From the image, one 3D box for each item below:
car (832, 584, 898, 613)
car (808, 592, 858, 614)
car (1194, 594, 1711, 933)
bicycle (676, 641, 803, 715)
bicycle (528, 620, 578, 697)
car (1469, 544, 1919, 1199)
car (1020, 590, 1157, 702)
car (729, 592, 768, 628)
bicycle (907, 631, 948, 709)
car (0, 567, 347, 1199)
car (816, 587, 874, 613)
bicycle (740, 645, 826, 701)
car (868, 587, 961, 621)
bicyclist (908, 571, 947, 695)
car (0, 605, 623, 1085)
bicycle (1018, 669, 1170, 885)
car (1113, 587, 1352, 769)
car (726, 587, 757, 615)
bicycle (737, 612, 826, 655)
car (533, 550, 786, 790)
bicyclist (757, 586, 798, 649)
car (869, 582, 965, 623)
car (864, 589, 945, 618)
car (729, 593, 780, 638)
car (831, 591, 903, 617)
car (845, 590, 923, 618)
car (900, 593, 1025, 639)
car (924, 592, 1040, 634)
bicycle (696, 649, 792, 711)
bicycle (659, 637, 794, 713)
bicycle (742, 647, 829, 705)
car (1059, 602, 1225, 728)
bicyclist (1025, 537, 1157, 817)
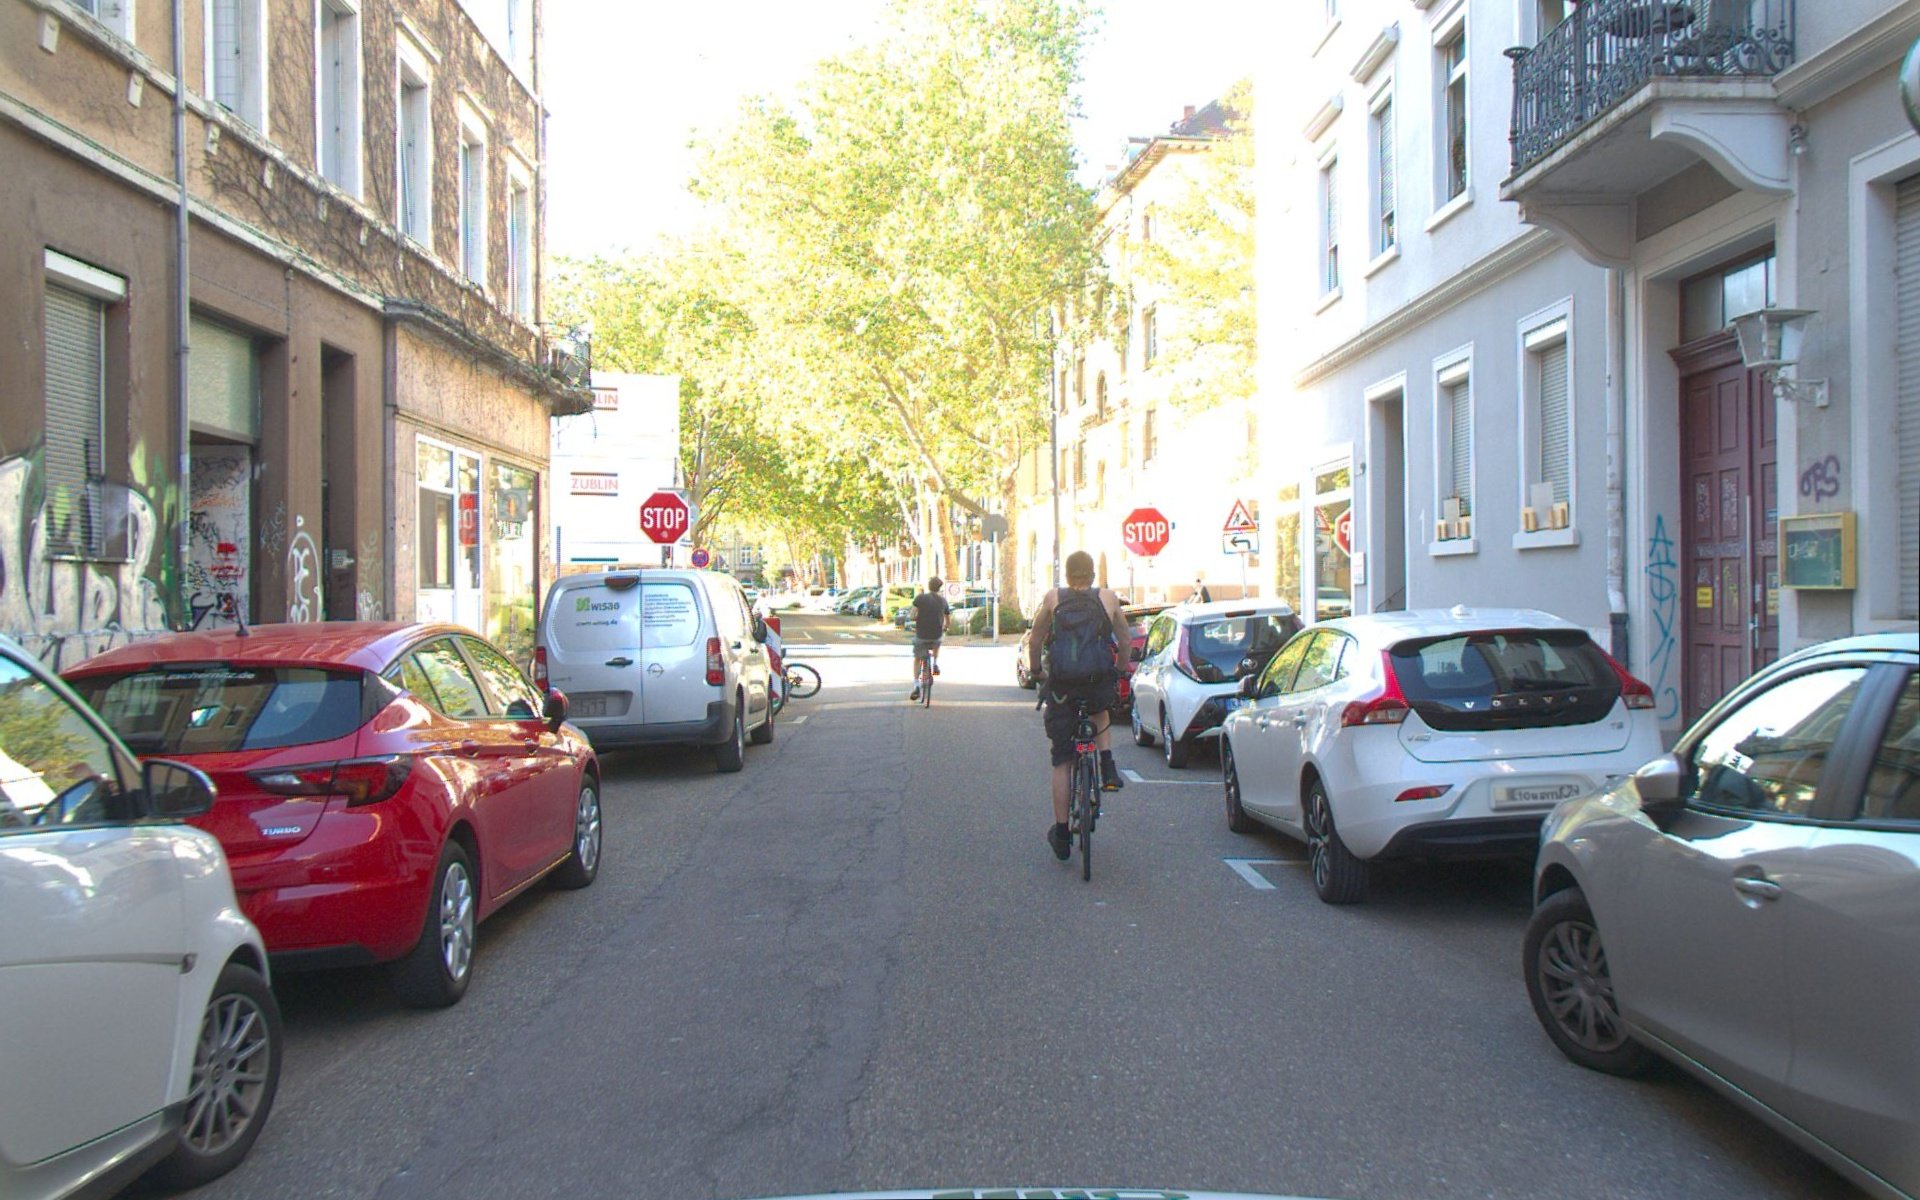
[{"bbox_3d":[-6.565,-0.118,113.571,4.379,1.931,1.724,0,0,-10],"label":"car"},{"bbox_3d":[-11.388,0.224,148.045,4.379,1.931,1.724,0,0,-10],"label":"car"},{"bbox_3d":[2.577,0.754,9.739,1.645,1.537,4.188,1,0,-2],"label":"car"},{"bbox_3d":[-3.103,1.085,23.277,1.734,0.978,0.480,0,0,-14],"label":"bicycle"},{"bbox_3d":[-6.101,0.864,24.858,0.389,1.111,1.591,-1,-1,-1],"label":"bicycle"},{"bbox_3d":[2.752,0.716,4.230,1.644,1.625,4.190,1,0,1],"label":"car"},{"bbox_3d":[2.059,0.703,27.503,1.725,1.691,4.195,1,0,-3],"label":"car"},{"bbox_3d":[-9.762,0.449,76.263,1.635,1.590,3.991,0,0,-10],"label":"car"},{"bbox_3d":[-0.470,0.969,23.286,0.540,1.034,1.628,1,-1,-2],"label":"bicycle"},{"bbox_3d":[-2.596,0.750,3.535,1.646,1.576,2.957,-1,0,-5],"label":"car"},{"bbox_3d":[-8.957,-0.005,128.931,4.379,1.931,1.724,0,0,-10],"label":"car"},{"bbox_3d":[-2.722,1.119,25.456,1.285,0.832,0.370,0,0,-12],"label":"bicycle"},{"bbox_3d":[-2.234,0.200,80.483,4.379,1.598,1.724,0,0,-10],"label":"car"},{"bbox_3d":[-0.459,0.460,23.188,0.531,1.717,0.653,1,-1,-2],"label":"bicyclist"},{"bbox_3d":[-2.735,0.815,7.557,1.646,1.499,4.201,-2,0,-3],"label":"car"},{"bbox_3d":[0.735,0.965,9.597,0.675,1.034,1.907,1,0,-1],"label":"bicycle"},{"bbox_3d":[2.639,0.704,16.829,1.604,1.614,3.786,1,0,-3],"label":"car"},{"bbox_3d":[-13.011,0.031,98.441,1.635,1.590,4.605,0,0,-10],"label":"car"},{"bbox_3d":[-4.813,0.895,44.531,2.377,1.112,0.894,0,-1,-8],"label":"bicycle"},{"bbox_3d":[-2.786,0.587,16.285,1.645,1.943,4.518,-3,0,-1],"label":"car"},{"bbox_3d":[-4.922,0.470,44.519,1.076,1.668,0.894,0,-1,-8],"label":"bicyclist"},{"bbox_3d":[-2.046,0.106,78.476,4.380,1.868,1.724,0,0,-10],"label":"car"},{"bbox_3d":[-3.166,0.216,93.808,4.379,1.598,1.724,0,0,-10],"label":"car"},{"bbox_3d":[-7.534,0.535,60.468,1.614,1.520,3.991,-3,1,-10],"label":"car"},{"bbox_3d":[-5.861,0.246,103.947,4.379,1.598,1.724,0,0,-10],"label":"car"},{"bbox_3d":[-4.453,0.234,96.848,4.379,1.598,1.724,0,0,-10],"label":"car"},{"bbox_3d":[0.065,0.570,60.652,4.379,1.598,1.724,0,0,-10],"label":"car"},{"bbox_3d":[0.864,0.508,65.644,4.379,1.598,1.724,0,0,-10],"label":"car"},{"bbox_3d":[-3.208,1.183,24.591,1.362,0.832,0.361,-3,1,-12],"label":"bicycle"},{"bbox_3d":[-3.084,0.988,21.904,1.729,0.978,0.405,0,0,-3],"label":"bicycle"},{"bbox_3d":[-2.648,1.144,25.071,1.285,0.832,0.354,0,0,-12],"label":"bicycle"},{"bbox_3d":[2.389,0.817,22.583,1.612,1.529,3.952,1,0,-3],"label":"car"},{"bbox_3d":[0.739,0.425,9.491,0.662,1.539,0.668,1,0,-1],"label":"bicyclist"}]
